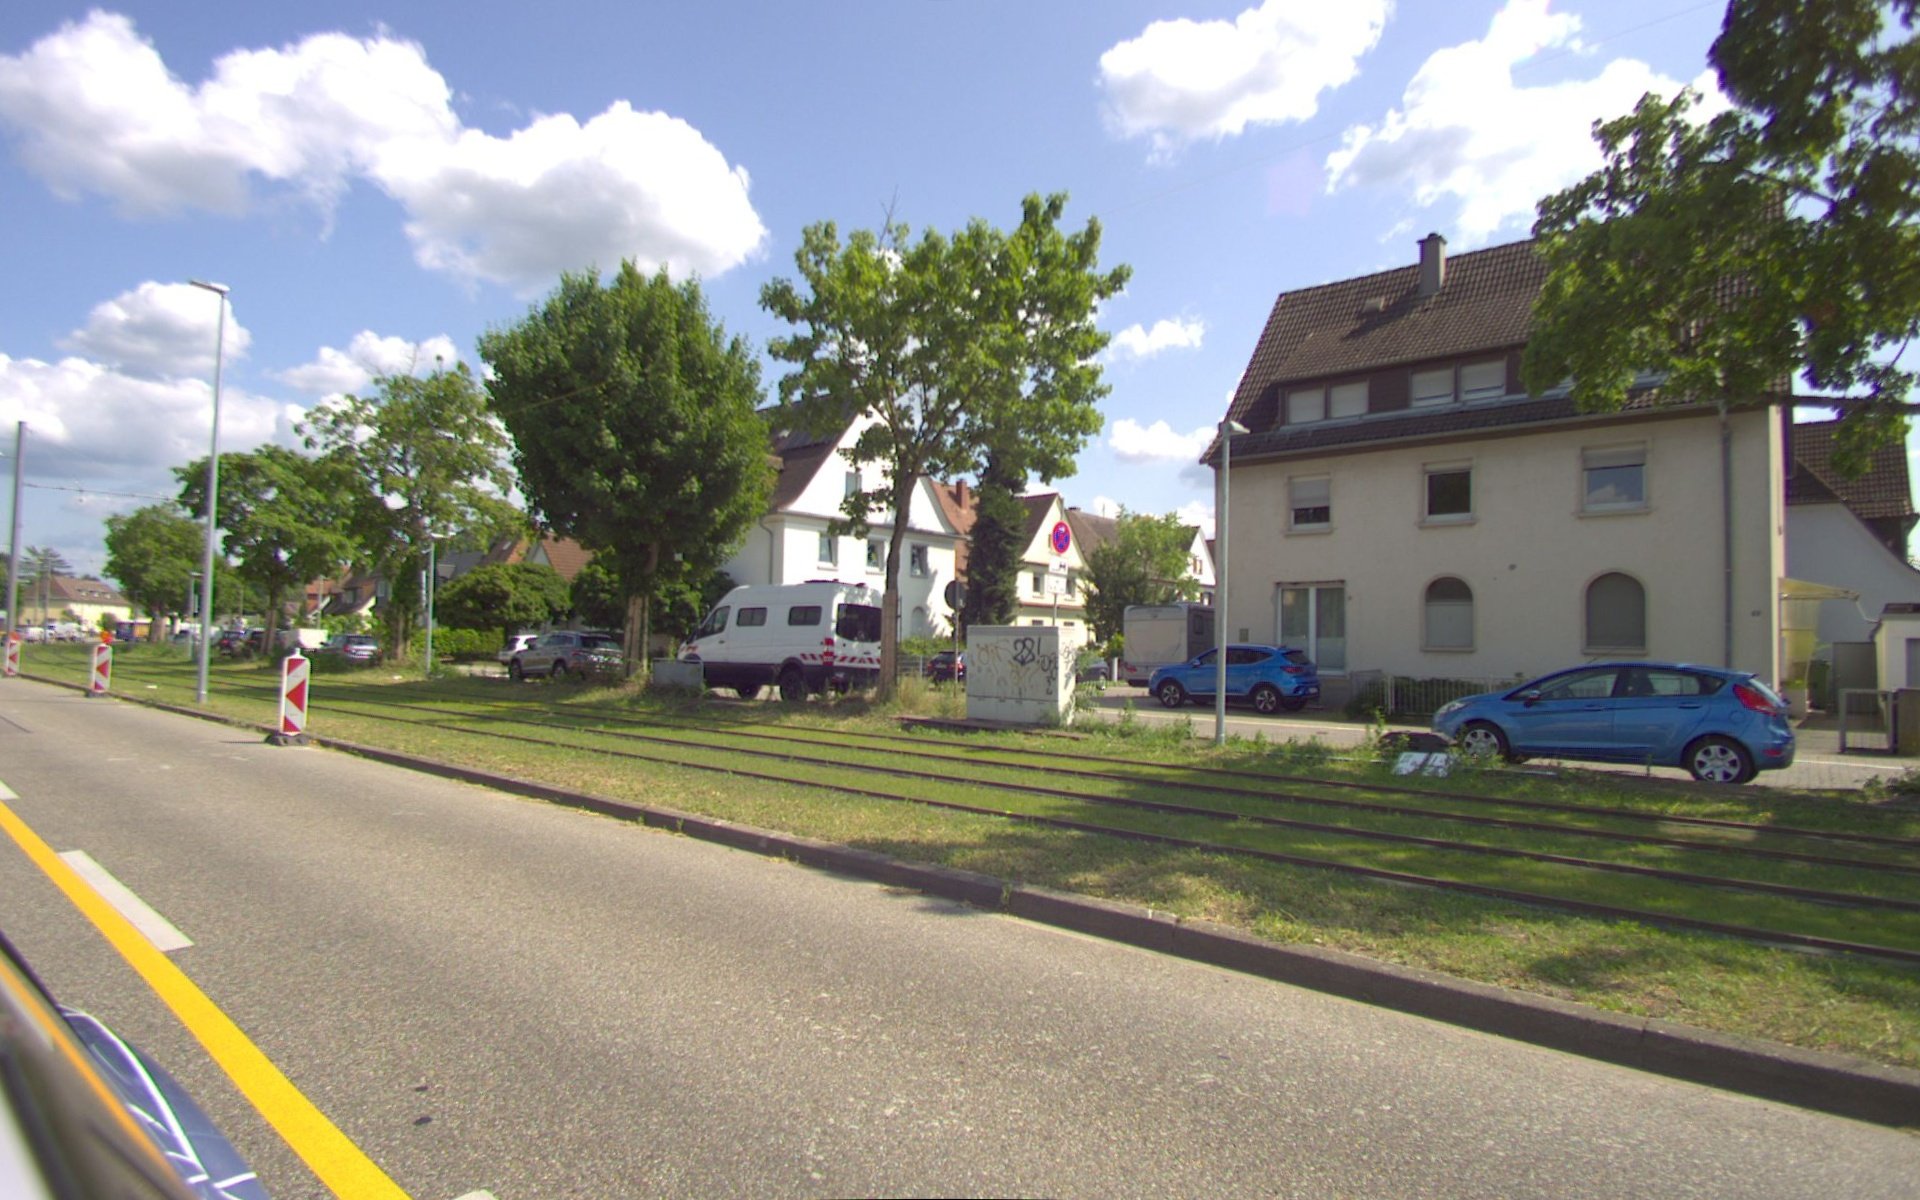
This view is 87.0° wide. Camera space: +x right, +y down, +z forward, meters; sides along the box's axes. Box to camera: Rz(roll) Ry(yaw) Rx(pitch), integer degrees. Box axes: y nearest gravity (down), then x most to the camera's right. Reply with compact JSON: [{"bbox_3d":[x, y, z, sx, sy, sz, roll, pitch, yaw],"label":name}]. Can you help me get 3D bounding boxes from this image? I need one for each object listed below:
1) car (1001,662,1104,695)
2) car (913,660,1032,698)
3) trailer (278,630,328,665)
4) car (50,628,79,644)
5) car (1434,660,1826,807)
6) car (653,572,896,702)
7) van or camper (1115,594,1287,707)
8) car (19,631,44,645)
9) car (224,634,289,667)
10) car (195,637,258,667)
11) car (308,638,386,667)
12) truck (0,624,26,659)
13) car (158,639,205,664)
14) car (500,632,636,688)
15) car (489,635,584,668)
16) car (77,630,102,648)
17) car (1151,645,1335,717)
[{"bbox_3d":[3.613,3.031,38.920,1.999,1.143,3.945,-1,-4,41],"label":"car"},{"bbox_3d":[0.479,2.739,35.022,2.045,1.170,3.945,-1,-4,41],"label":"car"},{"bbox_3d":[-30.404,2.191,46.834,2.281,1.530,1.286,-1,-5,41],"label":"trailer"},{"bbox_3d":[-116.513,4.713,131.698,1.811,2.070,3.880,4,-4,-27],"label":"car"},{"bbox_3d":[8.295,1.556,12.748,3.890,1.447,1.734,-1,-4,44],"label":"car"},{"bbox_3d":[-4.590,0.908,24.215,6.456,2.751,1.973,-2,-5,40],"label":"car"},{"bbox_3d":[7.917,1.669,32.611,2.633,3.246,6.657,-2,-4,41],"label":"van or camper"},{"bbox_3d":[-108.638,4.422,118.390,1.489,1.510,3.584,4,-4,-33],"label":"car"},{"bbox_3d":[-37.562,2.732,54.012,4.099,1.590,1.885,-3,-9,42],"label":"car"},{"bbox_3d":[-41.552,2.923,57.298,4.321,1.551,1.972,-1,-4,42],"label":"car"},{"bbox_3d":[-26.233,2.254,43.273,3.834,1.101,1.762,-1,-4,41],"label":"car"},{"bbox_3d":[-94.493,4.084,99.851,2.661,3.392,8.065,5,-5,-38],"label":"truck"},{"bbox_3d":[-54.536,3.598,70.851,4.324,1.551,1.971,-1,-4,44],"label":"car"},{"bbox_3d":[-11.947,1.801,30.744,4.485,1.517,1.972,-1,-4,42],"label":"car"},{"bbox_3d":[-21.404,2.637,51.238,1.999,1.539,3.945,-5,-7,40],"label":"car"},{"bbox_3d":[-121.708,5.453,141.494,1.668,2.450,3.585,3,-4,-27],"label":"car"},{"bbox_3d":[7.026,1.973,25.306,3.999,1.589,1.882,-1,-4,42],"label":"car"}]
